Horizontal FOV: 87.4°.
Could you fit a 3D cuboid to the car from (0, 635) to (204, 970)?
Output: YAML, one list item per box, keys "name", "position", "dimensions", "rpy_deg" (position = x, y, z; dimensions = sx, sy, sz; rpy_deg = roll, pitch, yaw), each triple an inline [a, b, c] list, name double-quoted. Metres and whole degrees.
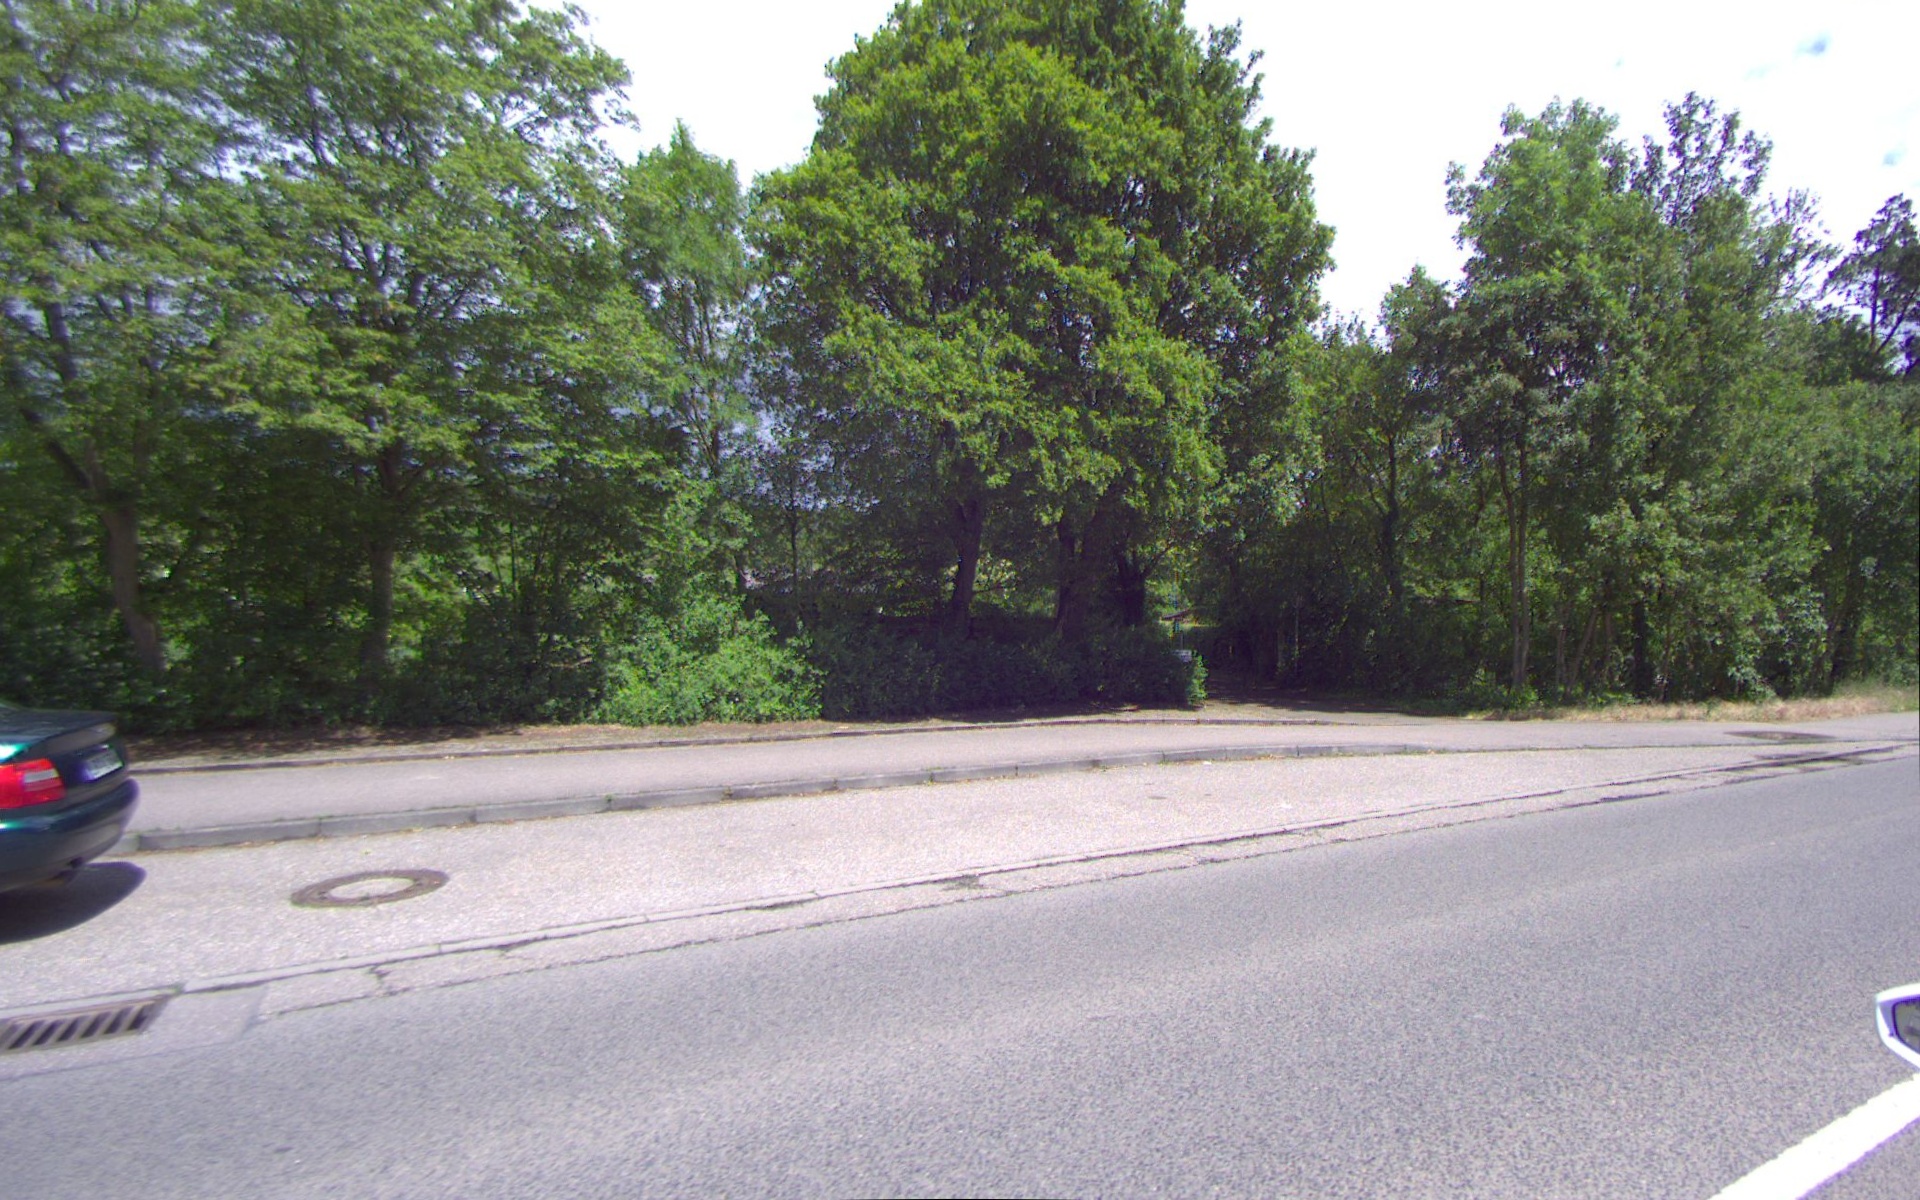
- name: "car"
  position: [-6.203, 0.898, 4.500]
  dimensions: [4.211, 1.426, 1.761]
  rpy_deg: [2, 0, -28]
